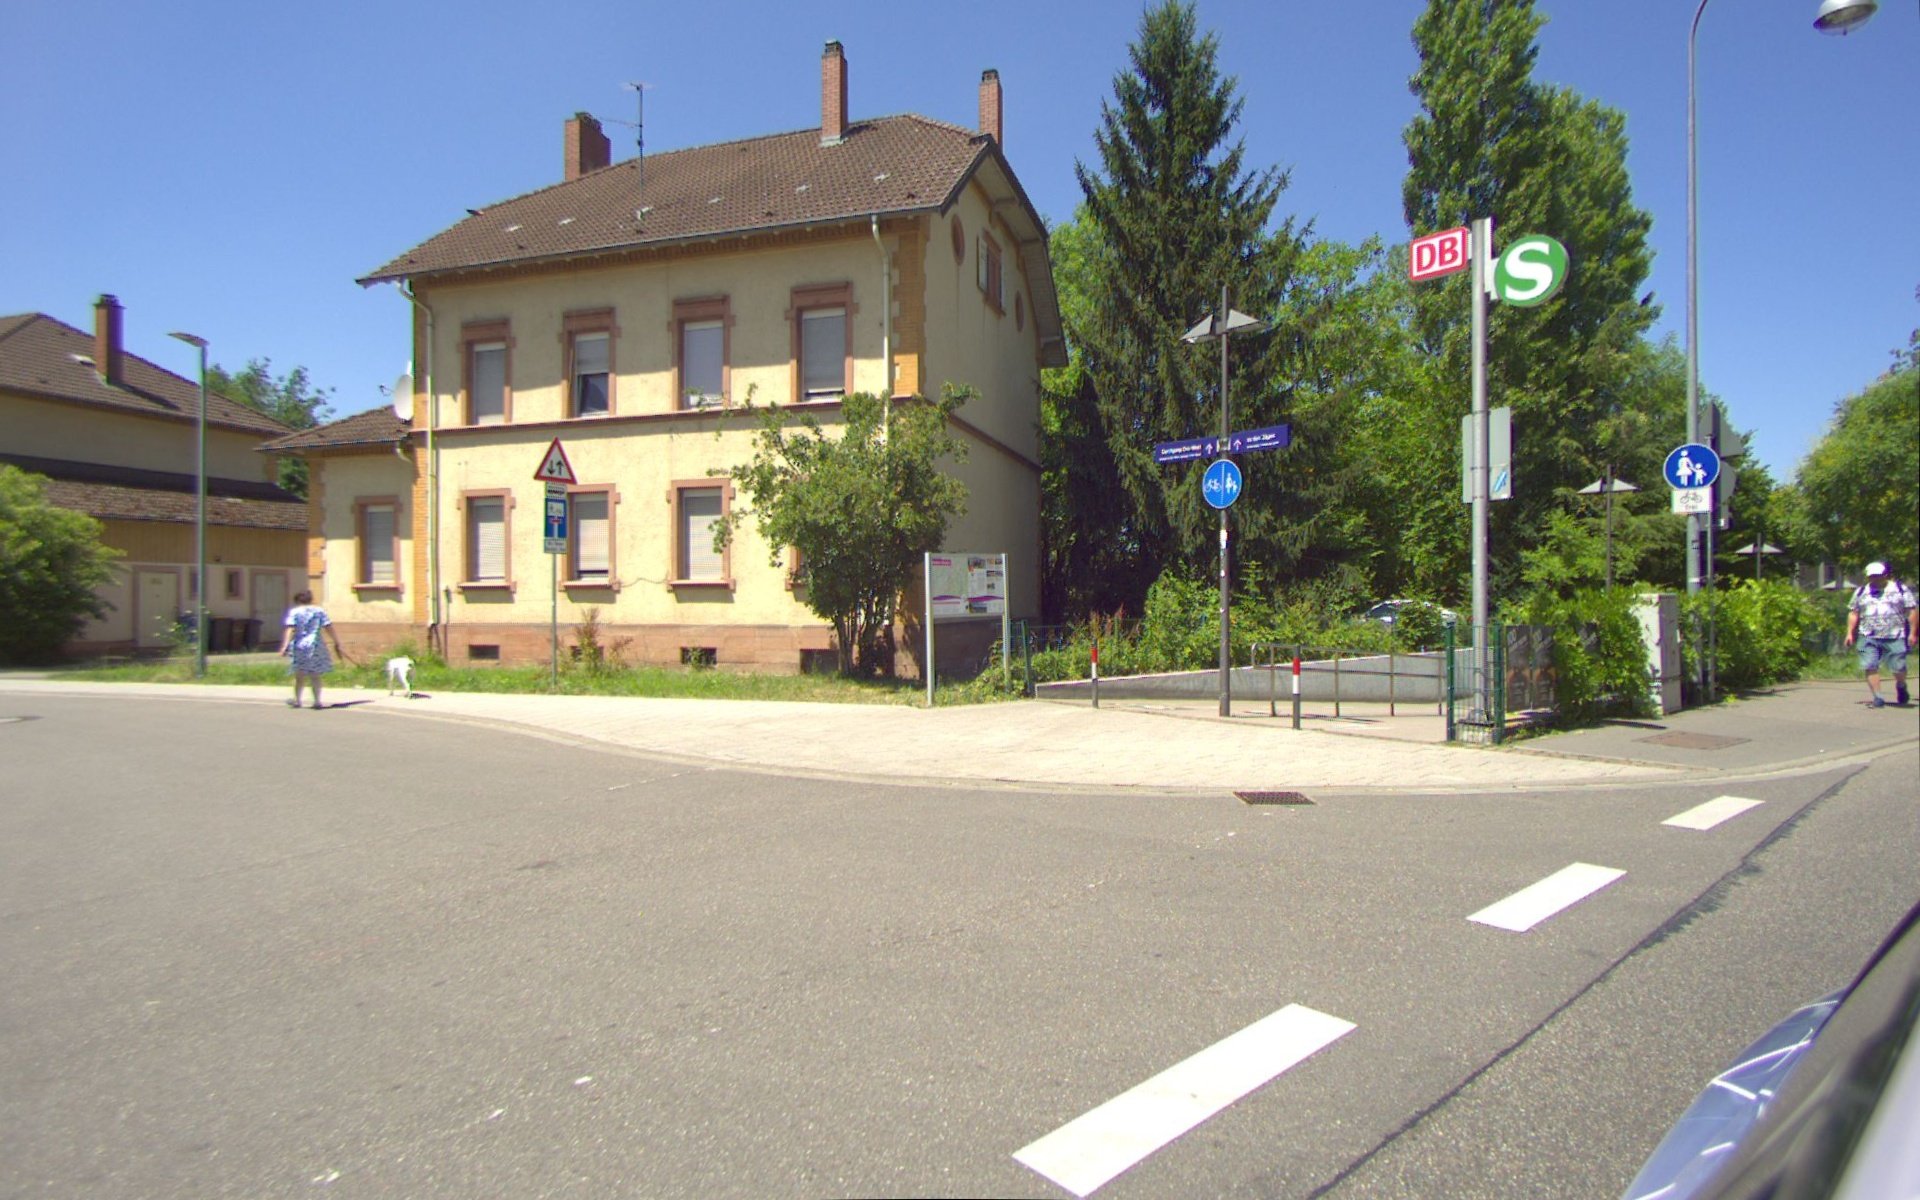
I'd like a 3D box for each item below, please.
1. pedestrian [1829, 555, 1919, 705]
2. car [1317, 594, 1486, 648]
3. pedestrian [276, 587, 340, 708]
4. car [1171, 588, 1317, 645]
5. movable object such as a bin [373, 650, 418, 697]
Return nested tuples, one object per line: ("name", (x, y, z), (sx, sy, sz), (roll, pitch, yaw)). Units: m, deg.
("pedestrian", (11.706, 0.343, 12.660), (0.896, 1.794, 0.917), (0, 2, -22))
("car", (12.977, 0.588, 30.041), (4.440, 1.519, 1.759), (0, 0, 19))
("pedestrian", (-9.166, 0.645, 14.227), (0.688, 1.648, 0.616), (0, 0, -39))
("car", (8.221, 0.460, 29.314), (3.923, 1.555, 1.643), (0, 0, 23))
("movable object such as a bin", (-8.484, 1.083, 15.196), (0.507, 0.602, 1.243), (0, 0, -33))
